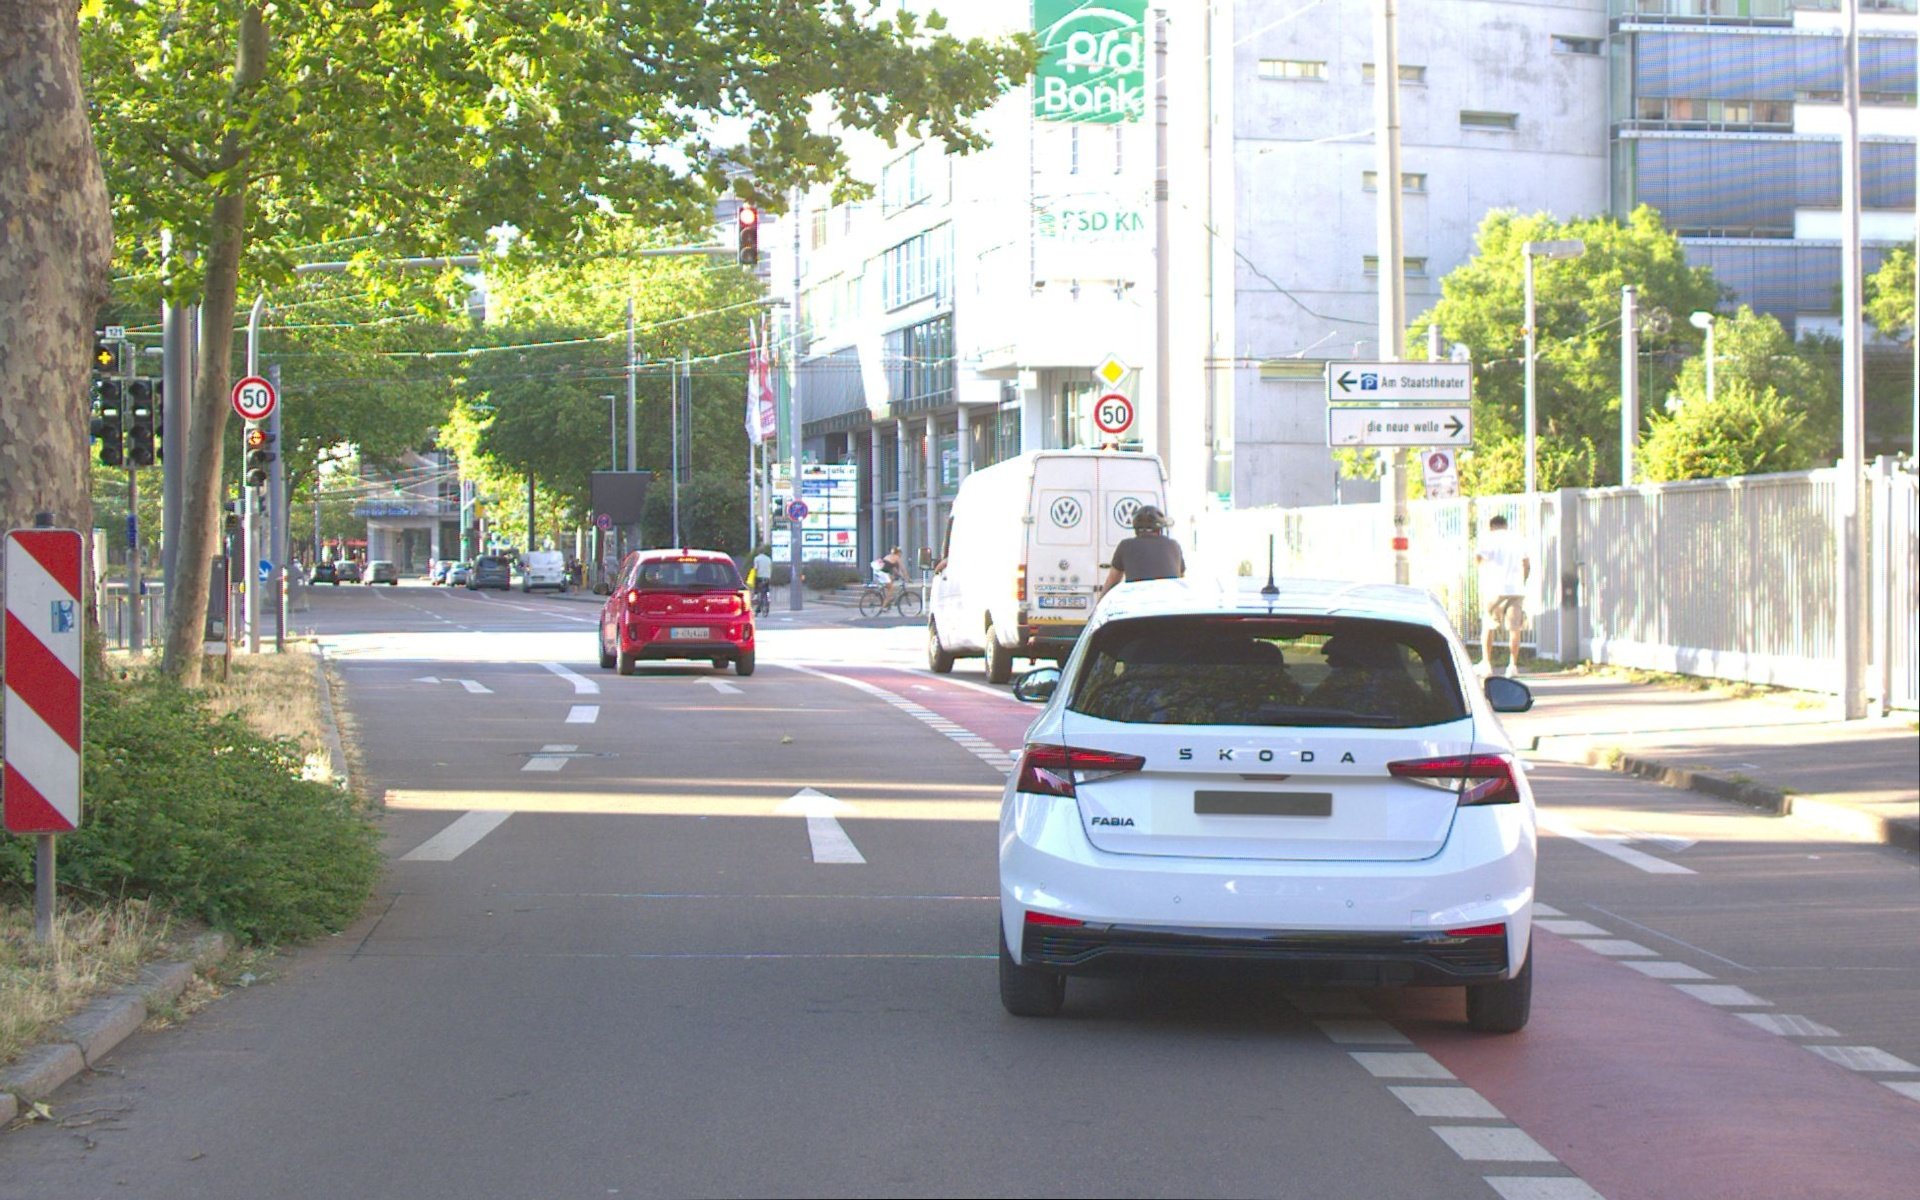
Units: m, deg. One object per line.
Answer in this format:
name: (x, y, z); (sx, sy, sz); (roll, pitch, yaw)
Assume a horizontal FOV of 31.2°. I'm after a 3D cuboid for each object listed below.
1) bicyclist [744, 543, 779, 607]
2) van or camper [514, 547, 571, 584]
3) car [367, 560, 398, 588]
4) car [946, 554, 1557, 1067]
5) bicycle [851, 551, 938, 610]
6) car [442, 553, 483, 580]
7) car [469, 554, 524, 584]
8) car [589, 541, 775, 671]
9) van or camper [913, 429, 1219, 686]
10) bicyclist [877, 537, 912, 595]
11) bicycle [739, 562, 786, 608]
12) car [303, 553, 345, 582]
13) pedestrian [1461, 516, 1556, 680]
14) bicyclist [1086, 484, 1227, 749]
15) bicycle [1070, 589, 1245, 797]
bicyclist: (-5.111, -0.648, 88.409); (0.785, 1.629, 0.639); (-1, 1, -13)
van or camper: (-20.192, -1.683, 166.048); (2.145, 1.744, 4.433); (-1, 1, -14)
car: (-34.703, -1.568, 206.704); (1.657, 1.601, 3.532); (-1, 1, -12)
car: (1.107, 0.598, 12.237); (1.802, 1.496, 3.980); (1, 1, 7)
bicycle: (-1.565, -0.466, 82.361); (1.987, 1.374, 0.647); (-1, 1, -23)
car: (-29.250, -2.002, 202.078); (1.884, 1.523, 4.433); (-1, 1, -14)
car: (-24.521, -1.634, 181.688); (2.477, 1.523, 4.433); (-1, 1, -13)
car: (-3.399, 0.038, 41.488); (1.839, 1.484, 3.717); (-1, 1, -11)
van or camper: (1.124, -0.507, 40.561); (2.268, 2.724, 6.348); (2, 1, -10)
bicyclist: (-1.572, -0.817, 82.353); (0.605, 1.384, 0.636); (-1, 1, -24)
bicycle: (-5.085, -0.396, 88.362); (0.792, 1.157, 2.500); (-1, 1, -13)
car: (-37.673, -1.946, 203.602); (2.056, 1.648, 3.493); (-1, 1, -16)
pedestrian: (5.930, -0.032, 37.190); (0.786, 1.742, 0.772); (-1, 1, -9)
bicyclist: (1.259, 0.099, 22.103); (0.743, 1.663, 0.745); (1, 1, -7)
bicycle: (1.245, 0.569, 22.147); (0.743, 1.220, 2.156); (1, 1, -6)
